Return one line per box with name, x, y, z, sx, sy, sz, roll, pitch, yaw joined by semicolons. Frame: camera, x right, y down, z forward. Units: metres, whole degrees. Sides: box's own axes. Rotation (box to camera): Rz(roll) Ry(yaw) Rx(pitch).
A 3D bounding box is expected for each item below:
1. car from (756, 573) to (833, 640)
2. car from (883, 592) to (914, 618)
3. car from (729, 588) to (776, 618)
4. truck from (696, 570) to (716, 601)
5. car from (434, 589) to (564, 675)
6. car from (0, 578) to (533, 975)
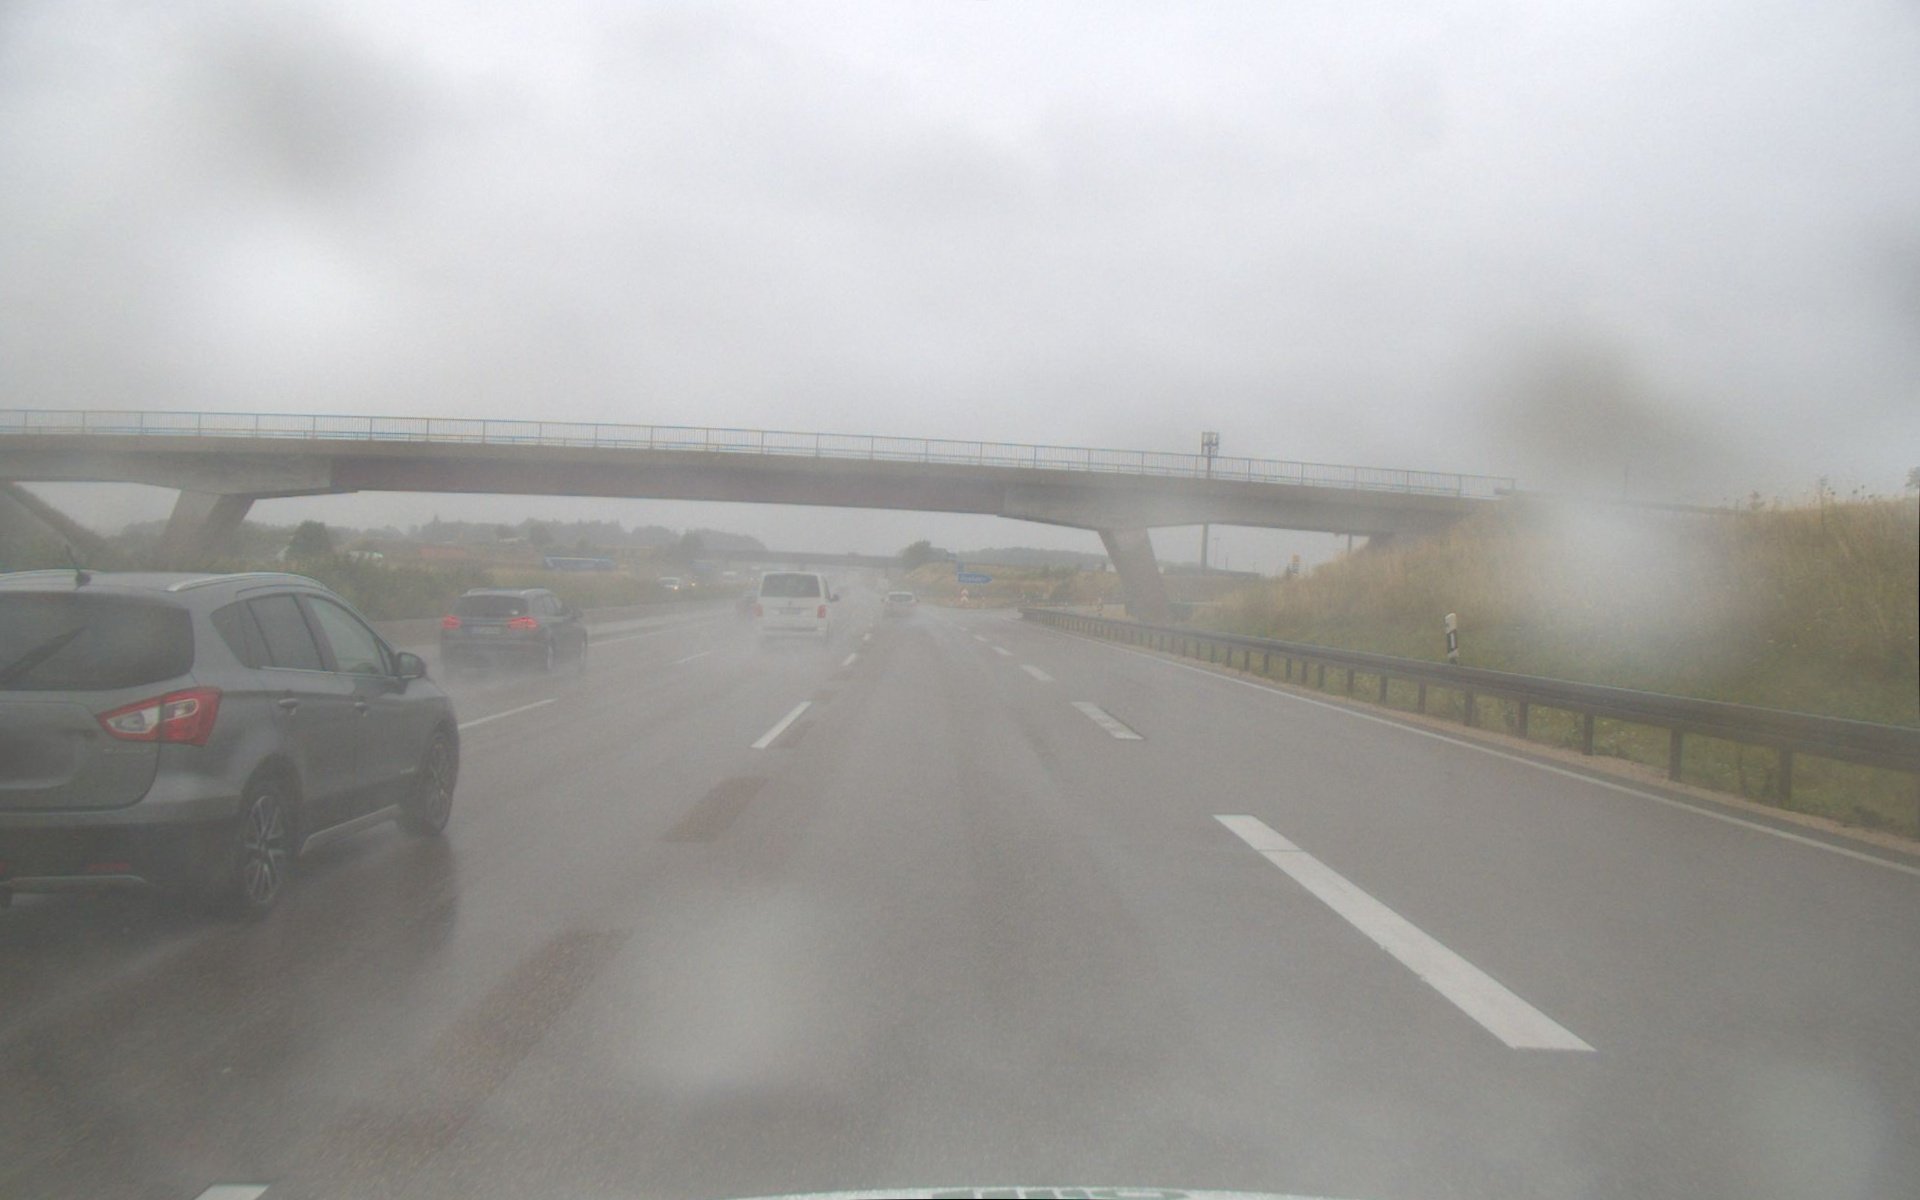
car;-4.256;0.151;42.981;1.860;1.613;3.996;1;0;-5
car;-3.057;0.239;82.704;1.438;1.229;2.991;1;0;-1
car;-9.137;0.128;73.005;1.437;1.279;3.341;1;0;4
truck;-34.292;-1.919;223.446;2.169;4.053;5.181;1;0;-3
car;-8.024;0.510;29.062;1.582;1.378;3.994;1;0;-7
car;-3.691;0.667;8.790;1.809;1.539;4.754;0;0;-3
